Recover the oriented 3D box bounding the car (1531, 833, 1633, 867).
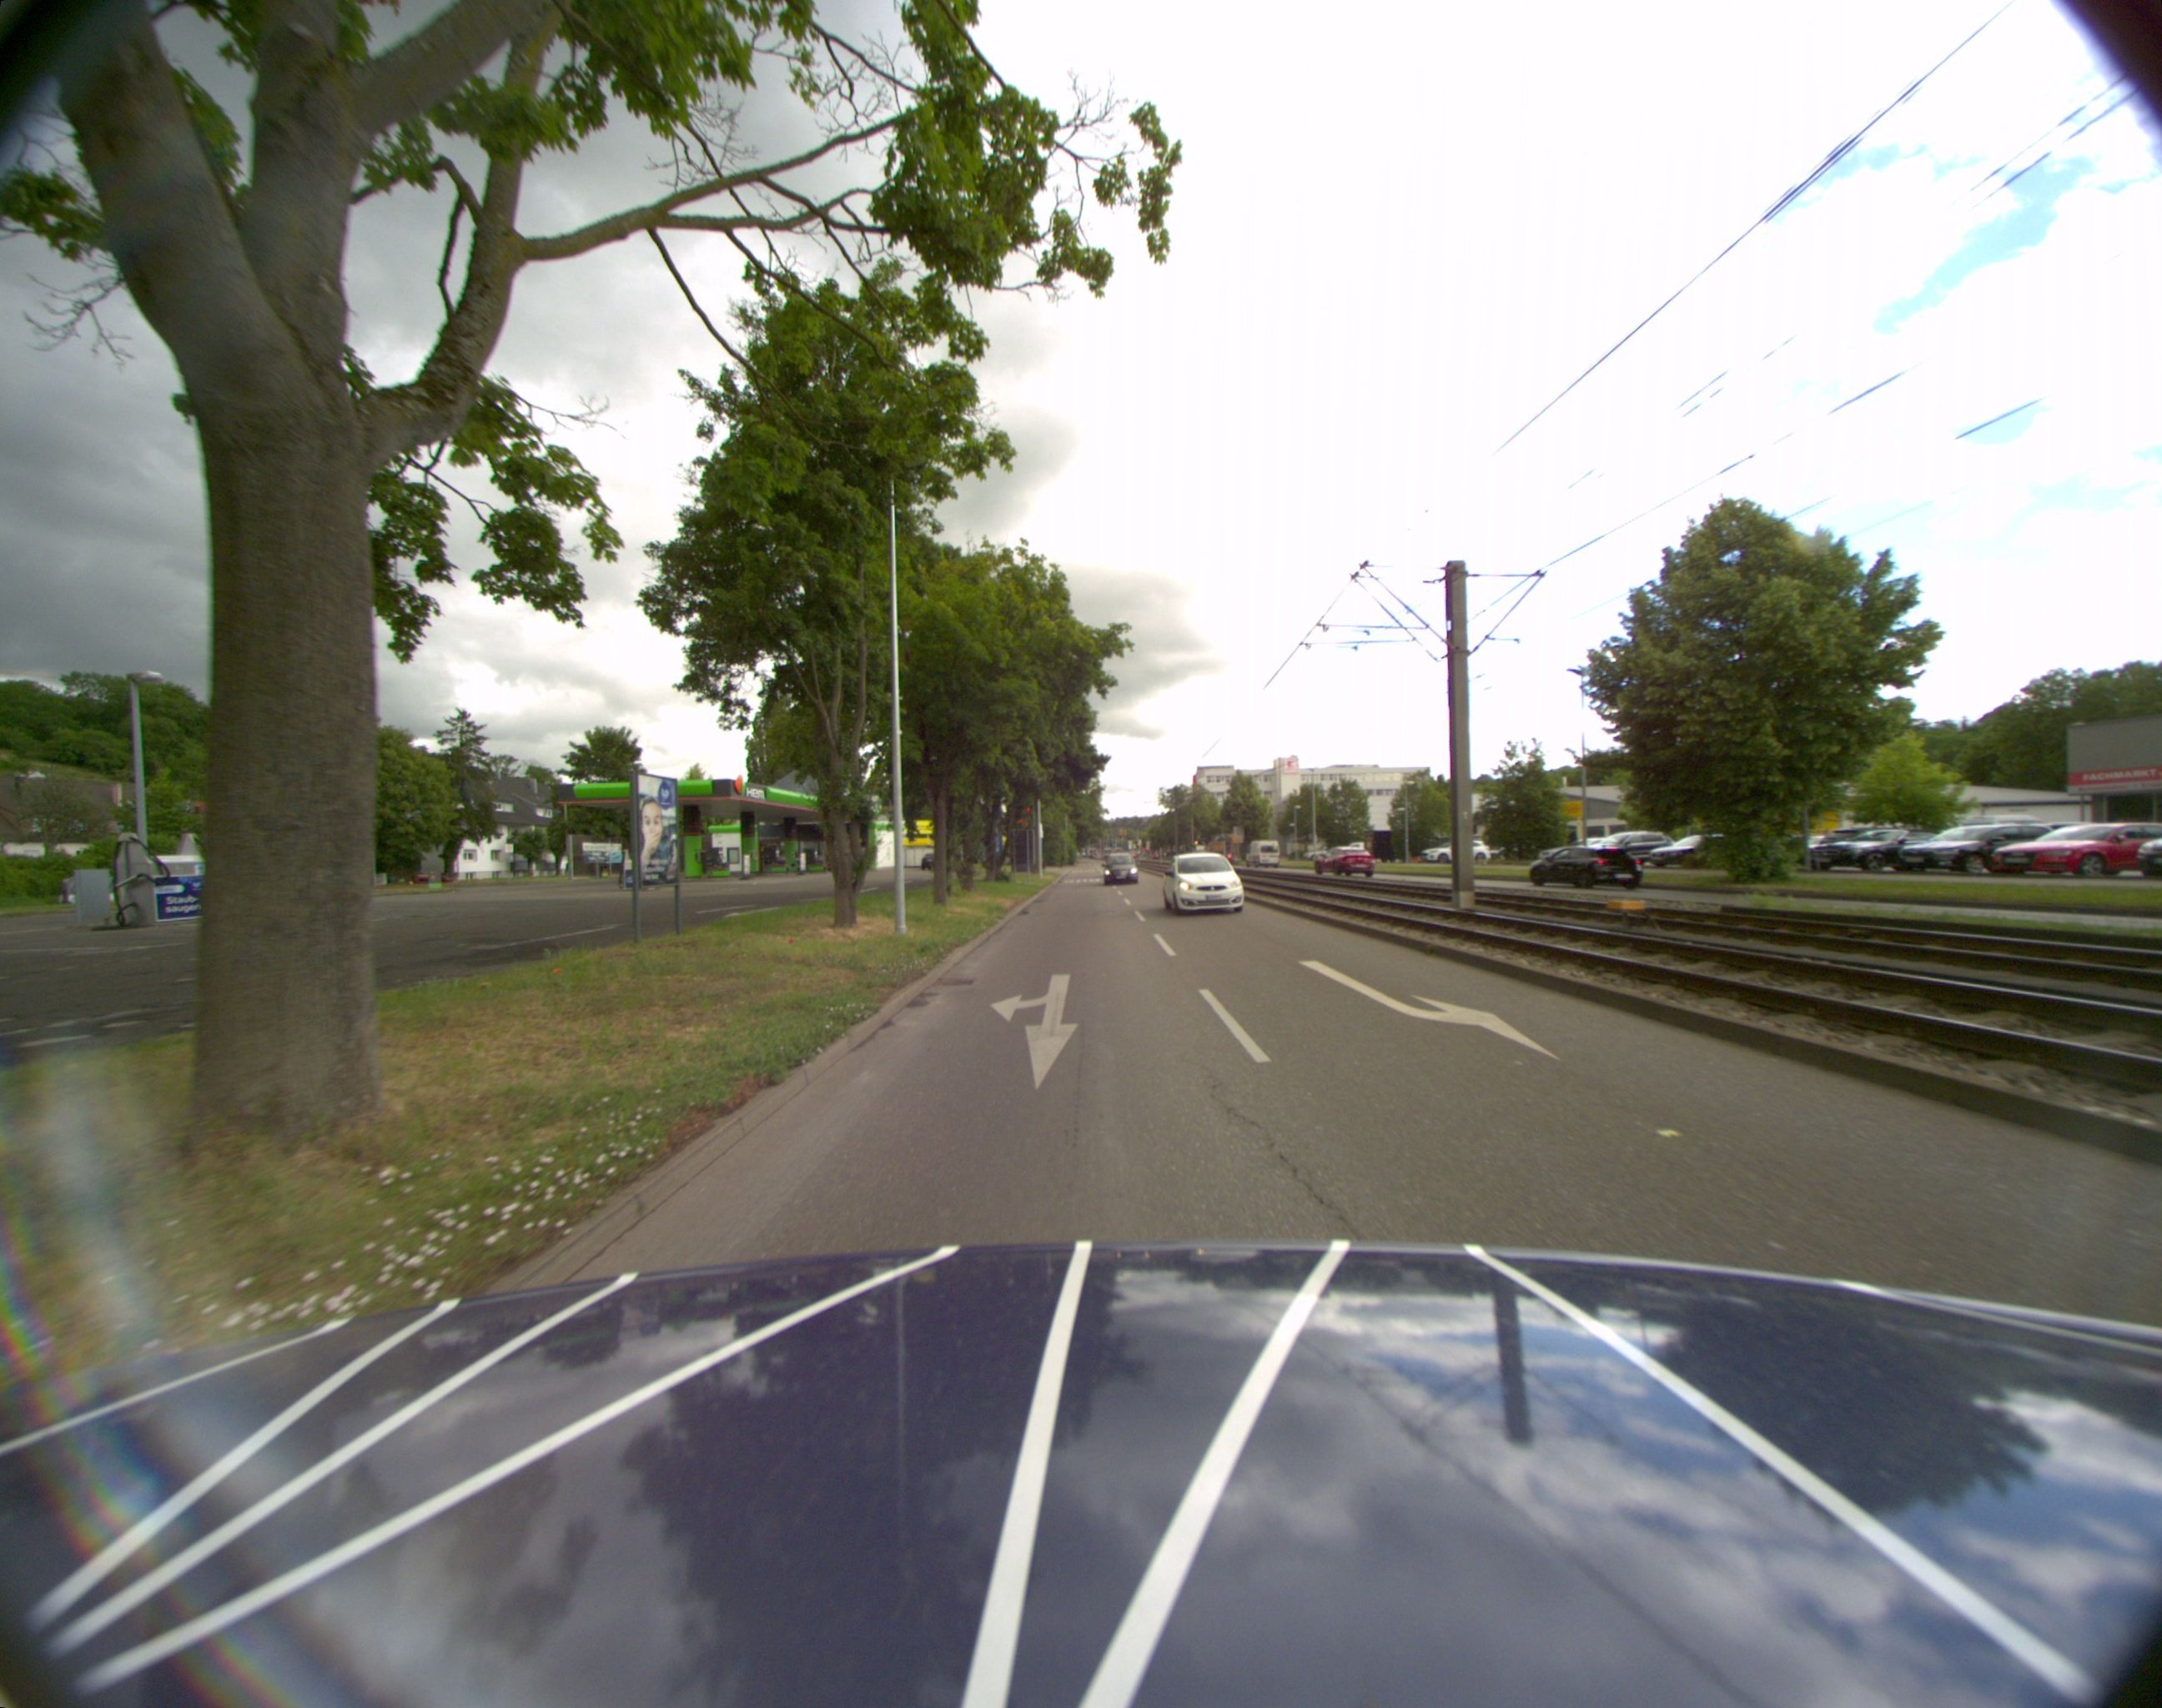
[{"bbox_3d":[26.485,-0.191,40.280,3.997,1.498,2.002,-4,0,0],"label":"car"}]

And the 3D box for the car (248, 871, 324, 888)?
[{"bbox_3d":[-64.365,2.069,61.566,3.998,1.212,1.842,-1,0,-4],"label":"car"}]

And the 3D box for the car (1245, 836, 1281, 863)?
[{"bbox_3d":[17.056,-0.404,71.556,1.874,2.484,5.999,0,0,-1],"label":"car"}]

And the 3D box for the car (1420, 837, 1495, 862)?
[{"bbox_3d":[27.238,-0.299,54.986,4.482,1.498,1.795,-4,0,-2],"label":"car"}]

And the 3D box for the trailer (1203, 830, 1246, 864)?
[{"bbox_3d":[17.464,-0.864,93.395,2.678,3.874,14.425,0,0,1],"label":"trailer"}]

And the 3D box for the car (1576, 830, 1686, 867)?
[{"bbox_3d":[27.236,-0.275,37.704,3.997,1.498,1.937,-4,0,0],"label":"car"}]

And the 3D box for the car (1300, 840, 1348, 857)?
[{"bbox_3d":[26.551,-0.576,83.228,4.611,1.484,2.000,-4,0,4],"label":"car"}]

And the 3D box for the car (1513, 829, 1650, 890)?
[{"bbox_3d":[17.422,0.185,26.700,1.999,2.002,3.998,0,0,-4],"label":"car"}]

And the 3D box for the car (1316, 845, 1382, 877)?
[{"bbox_3d":[13.990,0.343,39.950,1.788,1.573,4.481,0,0,-2],"label":"car"}]

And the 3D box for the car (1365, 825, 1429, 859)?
[{"bbox_3d":[26.682,-1.006,64.233,4.481,2.733,2.288,0,1,0],"label":"car"}]

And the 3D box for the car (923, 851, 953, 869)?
[{"bbox_3d":[-13.736,0.511,73.073,1.998,1.629,4.326,1,0,1],"label":"car"}]

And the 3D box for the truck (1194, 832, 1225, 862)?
[{"bbox_3d":[17.639,-0.956,104.912,2.899,3.943,8.631,-1,0,1],"label":"truck"}]

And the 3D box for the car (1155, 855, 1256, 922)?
[{"bbox_3d":[3.108,0.810,19.798,1.786,1.435,3.999,-4,0,-1],"label":"car"}]

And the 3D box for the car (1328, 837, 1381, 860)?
[{"bbox_3d":[26.539,-0.541,73.719,4.355,1.908,2.000,-4,1,4],"label":"car"}]

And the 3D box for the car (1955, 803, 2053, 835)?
[{"bbox_3d":[54.599,-2.063,44.997,3.738,1.613,1.723,-4,1,-2],"label":"car"}]

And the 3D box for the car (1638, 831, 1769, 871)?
[{"bbox_3d":[26.835,-0.143,32.858,3.997,1.413,1.937,-4,0,0],"label":"car"}]

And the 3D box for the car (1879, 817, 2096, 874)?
[{"bbox_3d":[27.138,-0.256,22.878,3.997,1.359,2.093,-4,0,0],"label":"car"}]

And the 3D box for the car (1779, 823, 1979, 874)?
[{"bbox_3d":[26.734,-0.186,25.583,4.384,1.346,2.195,-4,0,0],"label":"car"}]

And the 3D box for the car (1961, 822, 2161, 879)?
[{"bbox_3d":[26.695,-0.104,20.293,3.997,1.229,2.000,-4,0,0],"label":"car"}]

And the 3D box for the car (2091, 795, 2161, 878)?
[{"bbox_3d":[27.080,-0.520,17.849,3.997,1.907,2.000,-4,1,0],"label":"car"}]

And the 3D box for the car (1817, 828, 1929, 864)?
[{"bbox_3d":[38.230,-0.369,36.734,3.738,1.638,1.701,-1,0,-2],"label":"car"}]

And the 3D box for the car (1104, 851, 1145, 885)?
[{"bbox_3d":[2.264,0.725,40.674,1.786,1.614,3.999,-4,0,-1],"label":"car"}]
